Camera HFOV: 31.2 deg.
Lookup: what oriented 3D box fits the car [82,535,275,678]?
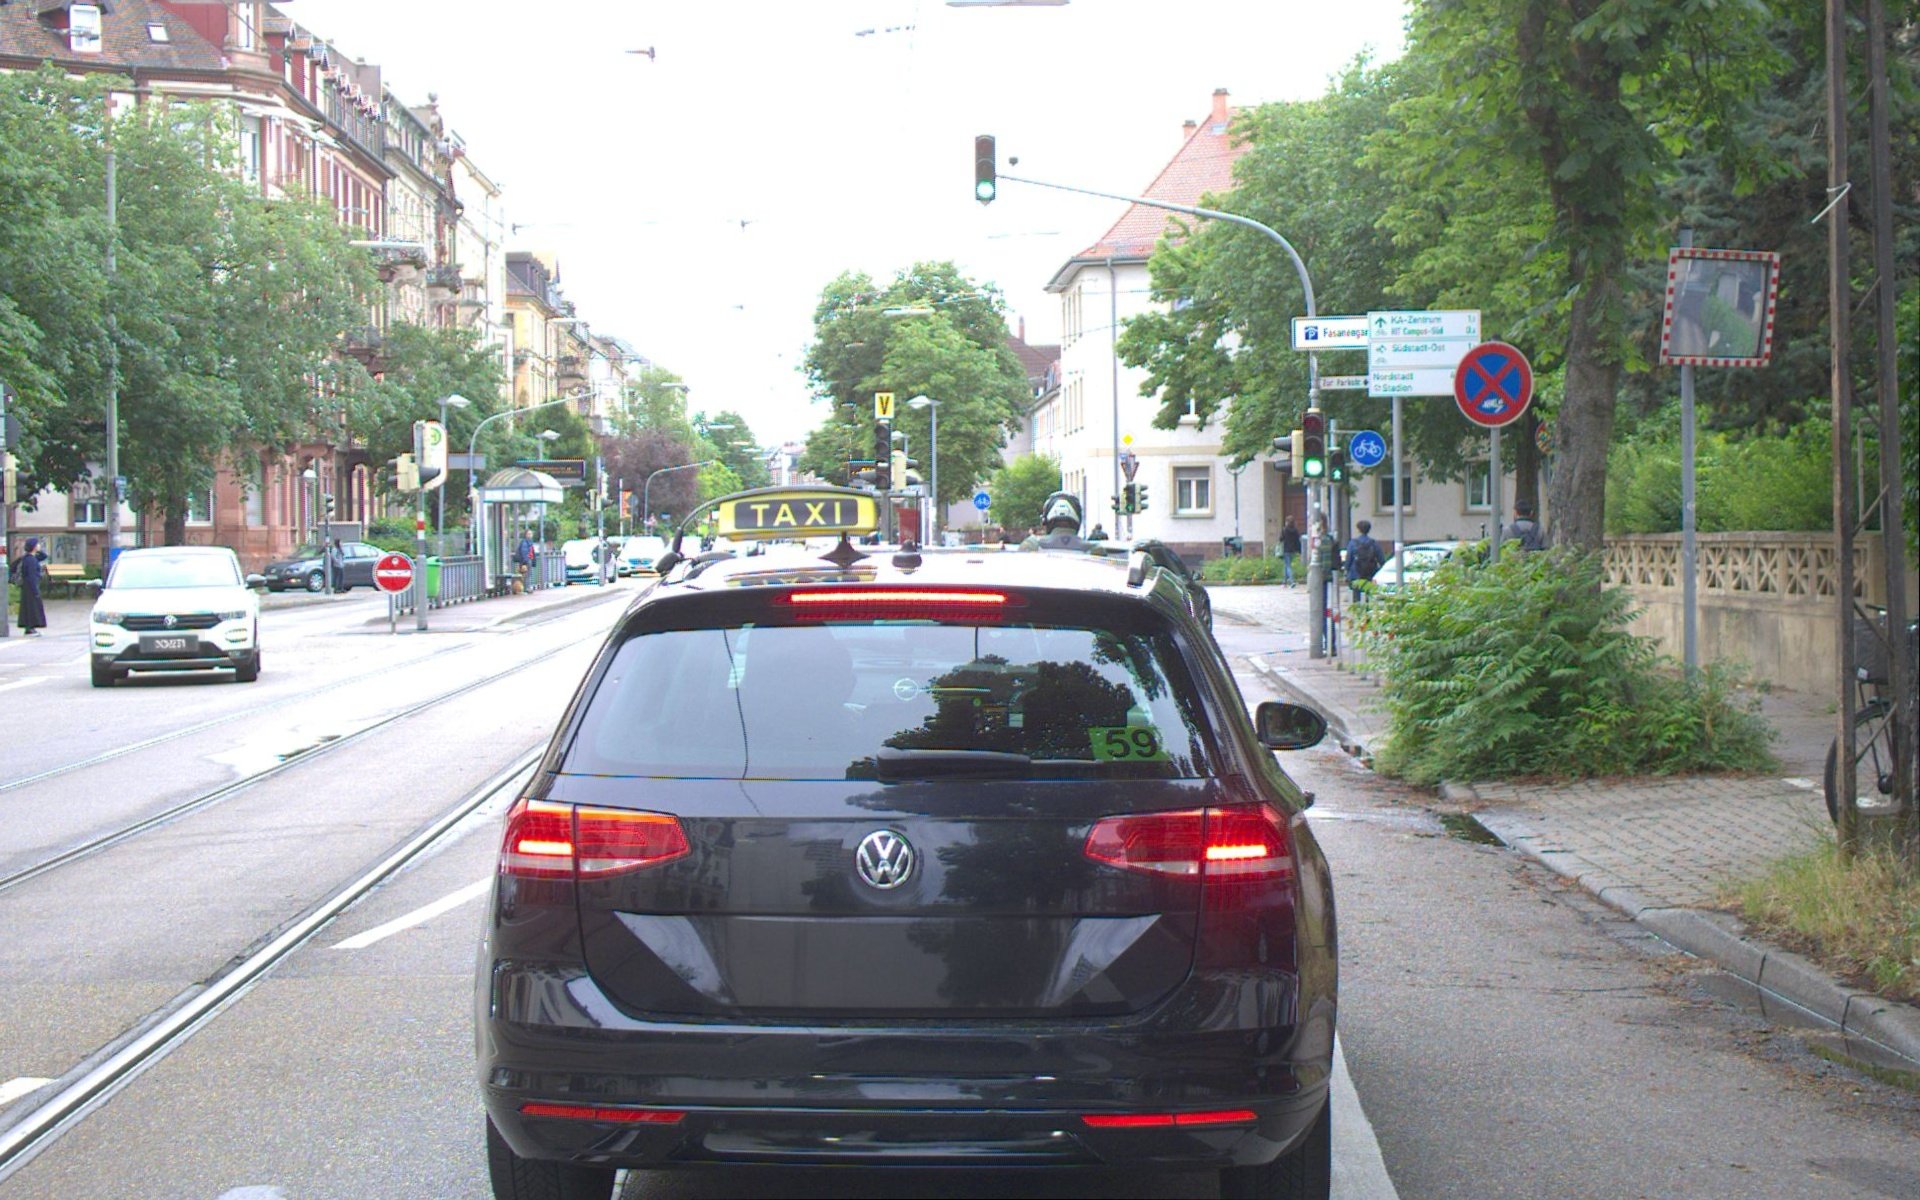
[{"bbox_3d":[-8.808,0.031,39.002,1.698,1.491,3.932,-2,1,-7],"label":"car"}]

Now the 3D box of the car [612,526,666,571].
[{"bbox_3d":[-11.813,-1.919,126.677,1.721,1.617,3.864,-1,1,-2],"label":"car"}]

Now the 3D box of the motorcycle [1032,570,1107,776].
[{"bbox_3d":[0.695,0.439,22.009,0.446,1.231,1.907,-1,1,2],"label":"motorcycle"}]

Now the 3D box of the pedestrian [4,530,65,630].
[{"bbox_3d":[-15.572,-0.340,57.859,0.836,1.657,0.591,-1,1,0],"label":"pedestrian"}]

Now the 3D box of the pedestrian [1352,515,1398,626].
[{"bbox_3d":[6.969,-0.501,57.722,0.514,1.824,0.418,-4,1,-34],"label":"pedestrian"}]

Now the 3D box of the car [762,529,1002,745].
[{"bbox_3d":[-0.621,0.224,26.722,1.723,1.541,4.001,0,1,-2],"label":"car"}]

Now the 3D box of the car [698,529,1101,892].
[{"bbox_3d":[-0.317,0.433,16.731,1.723,1.541,4.001,0,1,-2],"label":"car"}]

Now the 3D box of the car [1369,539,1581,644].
[{"bbox_3d":[8.145,-0.150,54.135,1.997,1.572,3.993,1,1,30],"label":"car"}]

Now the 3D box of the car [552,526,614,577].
[{"bbox_3d":[-12.202,-1.581,111.431,1.721,1.617,3.864,-1,1,-2],"label":"car"}]

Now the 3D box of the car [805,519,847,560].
[{"bbox_3d":[-6.778,-3.058,174.302,2.032,2.007,4.000,0,1,-2],"label":"car"}]

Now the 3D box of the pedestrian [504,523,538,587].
[{"bbox_3d":[-10.424,-1.077,81.699,0.714,1.515,0.590,-1,1,0],"label":"pedestrian"}]

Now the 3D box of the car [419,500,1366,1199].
[{"bbox_3d":[-0.177,0.545,8.272,1.723,1.541,4.001,0,1,-2],"label":"car"}]

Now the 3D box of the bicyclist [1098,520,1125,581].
[{"bbox_3d":[3.924,-1.291,89.216,0.651,1.563,0.695,-1,1,5],"label":"bicyclist"}]

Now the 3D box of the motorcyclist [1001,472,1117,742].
[{"bbox_3d":[0.634,0.035,22.031,0.703,1.686,0.804,-1,1,2],"label":"motorcyclist"}]

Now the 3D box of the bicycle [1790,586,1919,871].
[{"bbox_3d":[4.372,0.538,15.265,0.433,1.194,1.899,0,0,44],"label":"bicycle"}]

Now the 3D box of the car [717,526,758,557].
[{"bbox_3d":[-11.677,-3.079,180.357,1.795,1.590,4.000,-1,1,1],"label":"car"}]

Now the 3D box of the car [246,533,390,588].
[{"bbox_3d":[-19.479,-1.207,104.374,1.998,1.590,3.992,0,2,36],"label":"car"}]

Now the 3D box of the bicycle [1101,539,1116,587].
[{"bbox_3d":[3.857,-0.967,89.146,0.297,1.219,1.430,-1,1,6],"label":"bicycle"}]

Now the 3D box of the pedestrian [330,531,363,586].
[{"bbox_3d":[-17.068,-1.146,95.661,0.589,1.515,0.648,0,1,34],"label":"pedestrian"}]

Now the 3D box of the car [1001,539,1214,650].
[{"bbox_3d":[2.061,-0.099,46.968,1.893,1.403,3.997,-1,1,18],"label":"car"}]

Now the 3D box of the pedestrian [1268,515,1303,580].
[{"bbox_3d":[7.821,-1.260,82.541,0.608,1.548,0.583,-1,1,-40],"label":"pedestrian"}]

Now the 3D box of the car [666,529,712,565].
[{"bbox_3d":[-11.290,-2.211,143.243,1.721,1.460,3.864,-1,1,-2],"label":"car"}]

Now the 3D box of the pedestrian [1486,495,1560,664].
[{"bbox_3d":[6.135,-0.229,37.475,0.632,1.808,0.726,-1,1,-4],"label":"pedestrian"}]

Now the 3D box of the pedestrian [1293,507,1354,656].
[{"bbox_3d":[4.569,-0.237,43.233,0.585,1.824,0.604,-4,1,0],"label":"pedestrian"}]
